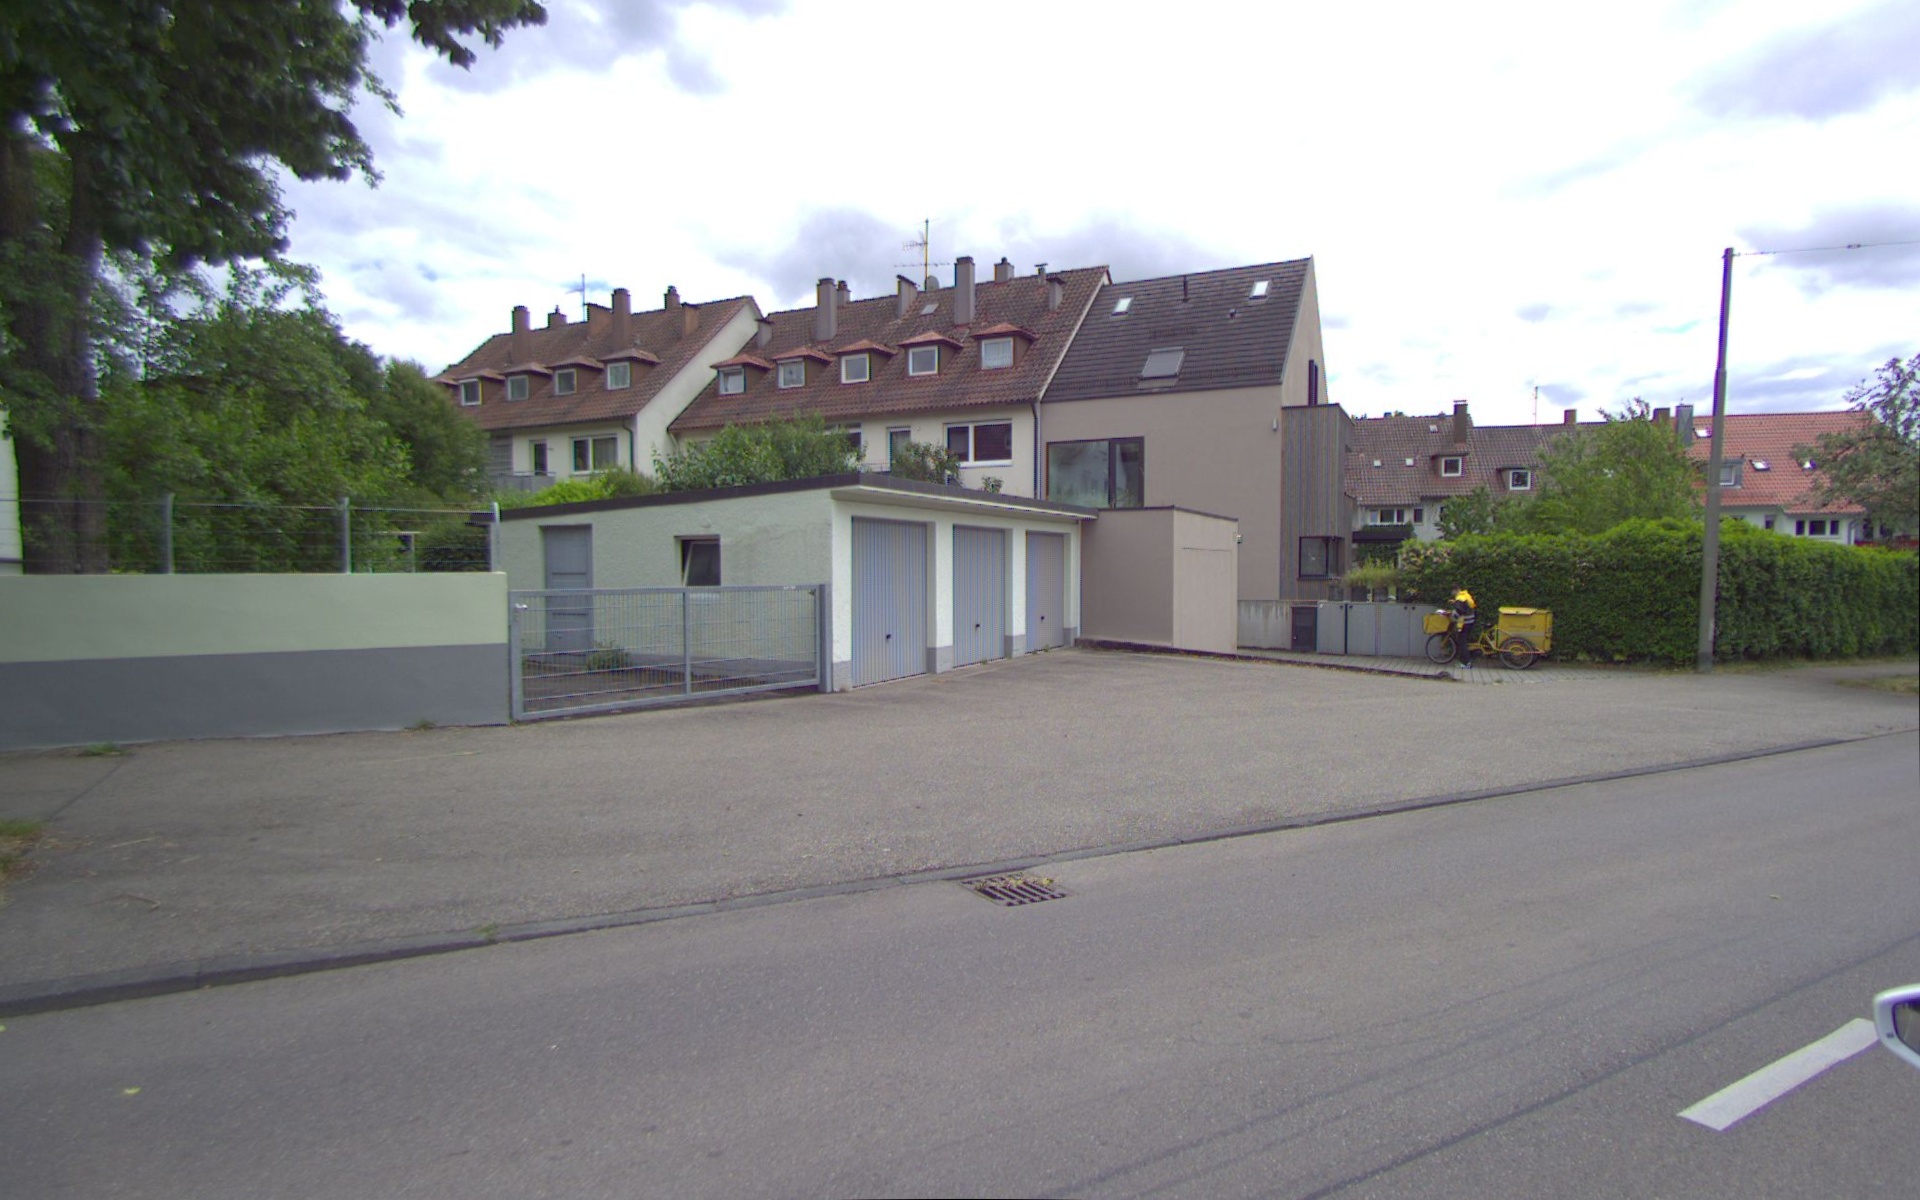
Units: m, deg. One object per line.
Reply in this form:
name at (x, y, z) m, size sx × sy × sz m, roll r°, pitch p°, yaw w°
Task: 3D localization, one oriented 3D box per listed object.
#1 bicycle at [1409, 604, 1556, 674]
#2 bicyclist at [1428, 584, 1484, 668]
bicycle at (10.988, 0.786, 21.200) m, size 2.612 × 1.283 × 0.843 m, roll 2°, pitch 3°, yaw 41°
bicyclist at (10.503, 0.536, 21.266) m, size 0.838 × 1.720 × 0.707 m, roll -1°, pitch 2°, yaw -33°
